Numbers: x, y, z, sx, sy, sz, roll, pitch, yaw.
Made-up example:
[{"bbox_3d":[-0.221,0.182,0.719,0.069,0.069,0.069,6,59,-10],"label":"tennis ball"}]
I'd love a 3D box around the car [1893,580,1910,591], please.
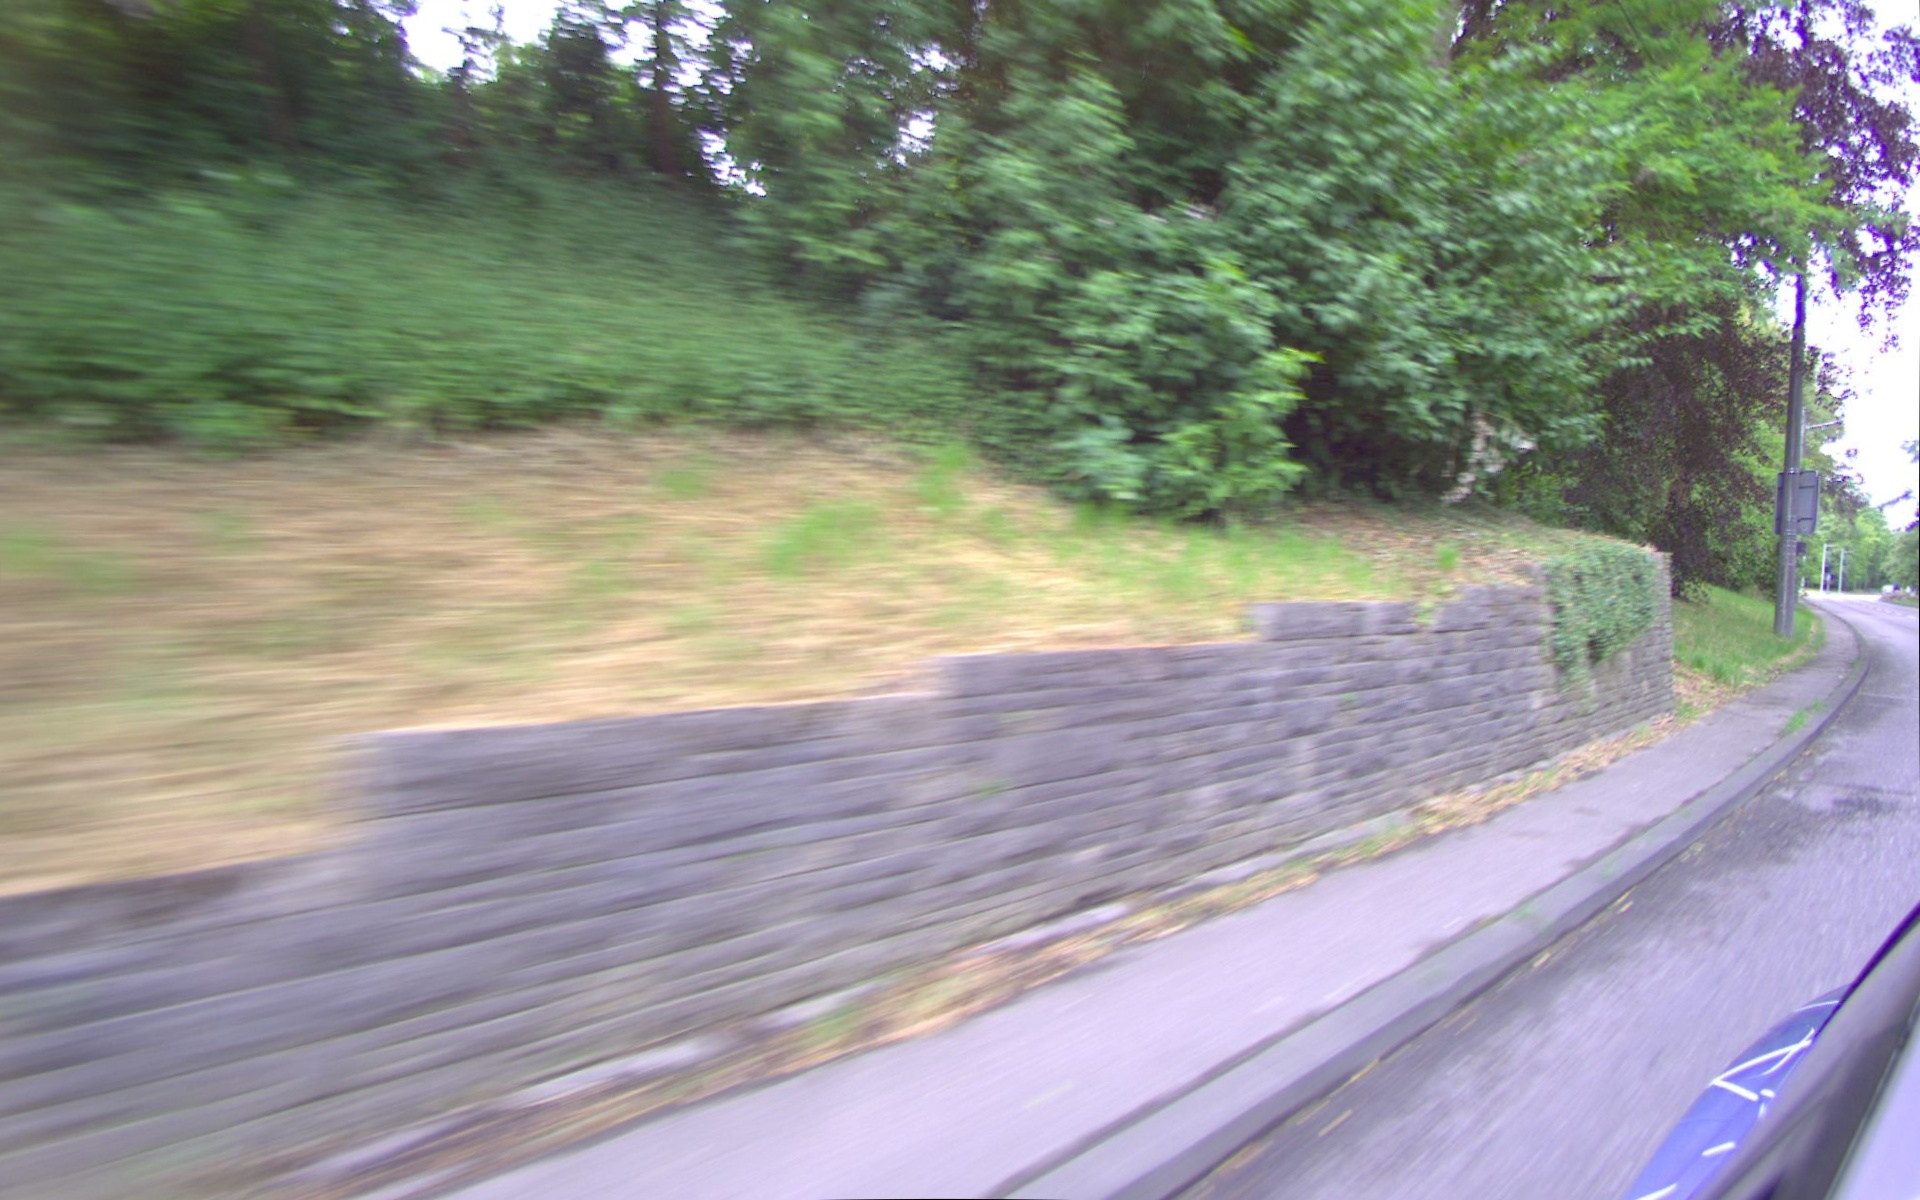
[{"bbox_3d":[176.106,-2.671,189.295,1.993,1.971,4.872,4,4,41],"label":"car"}]
